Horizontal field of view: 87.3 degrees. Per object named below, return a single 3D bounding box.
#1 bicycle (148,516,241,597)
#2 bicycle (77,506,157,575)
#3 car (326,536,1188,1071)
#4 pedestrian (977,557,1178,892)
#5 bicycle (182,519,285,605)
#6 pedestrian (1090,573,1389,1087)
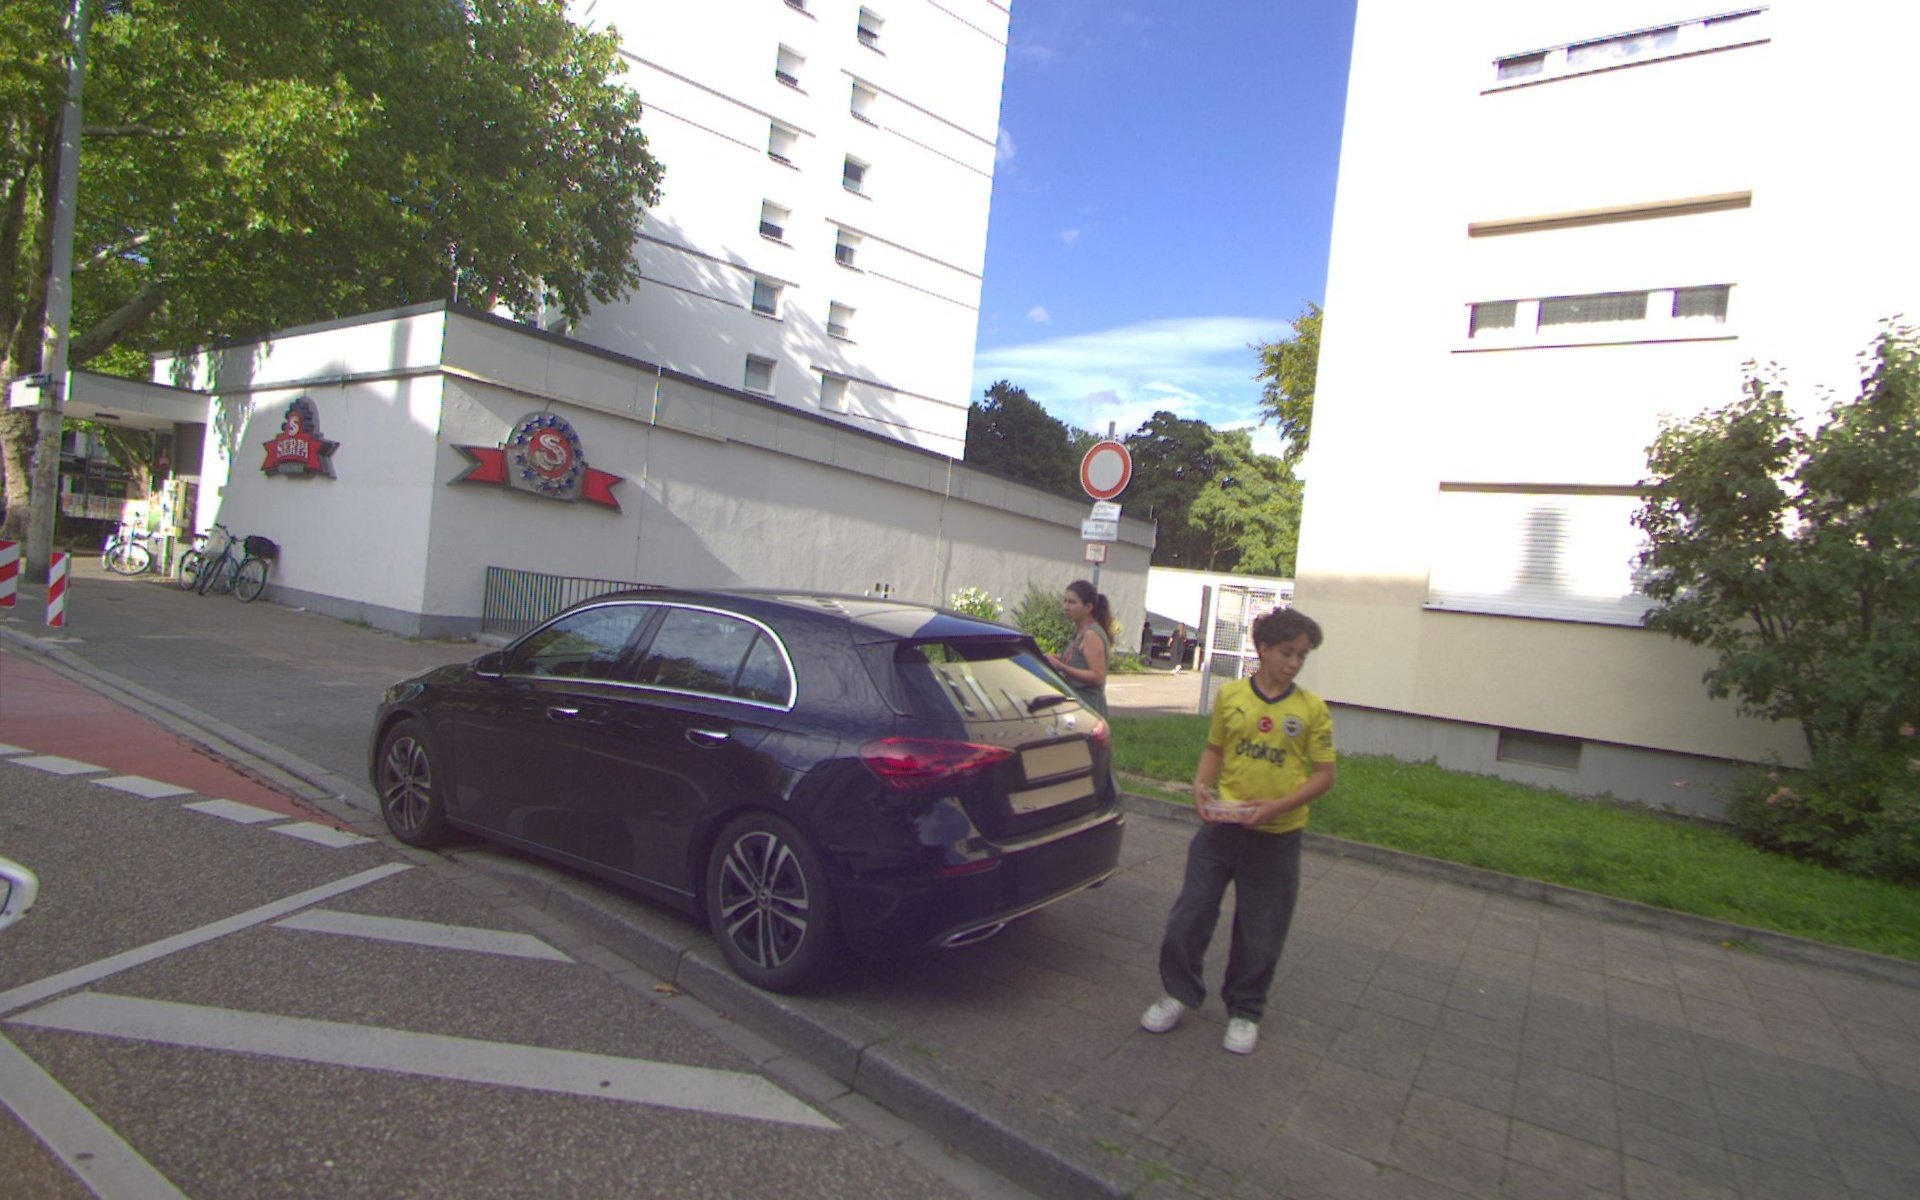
[{"bbox_3d":[-13.276,-0.761,17.441,1.743,1.221,0.711,7,1,35],"label":"bicycle"},{"bbox_3d":[-16.365,-1.157,19.519,1.786,1.223,0.711,6,4,33],"label":"bicycle"},{"bbox_3d":[-1.229,0.594,5.012,4.166,1.430,1.760,6,2,35],"label":"car"},{"bbox_3d":[0.663,0.652,5.598,0.731,1.666,0.653,7,1,32],"label":"pedestrian"},{"bbox_3d":[-11.834,-0.624,16.375,1.787,1.222,0.768,7,2,35],"label":"bicycle"},{"bbox_3d":[1.007,0.729,3.593,0.731,1.559,0.652,7,2,32],"label":"pedestrian"}]
